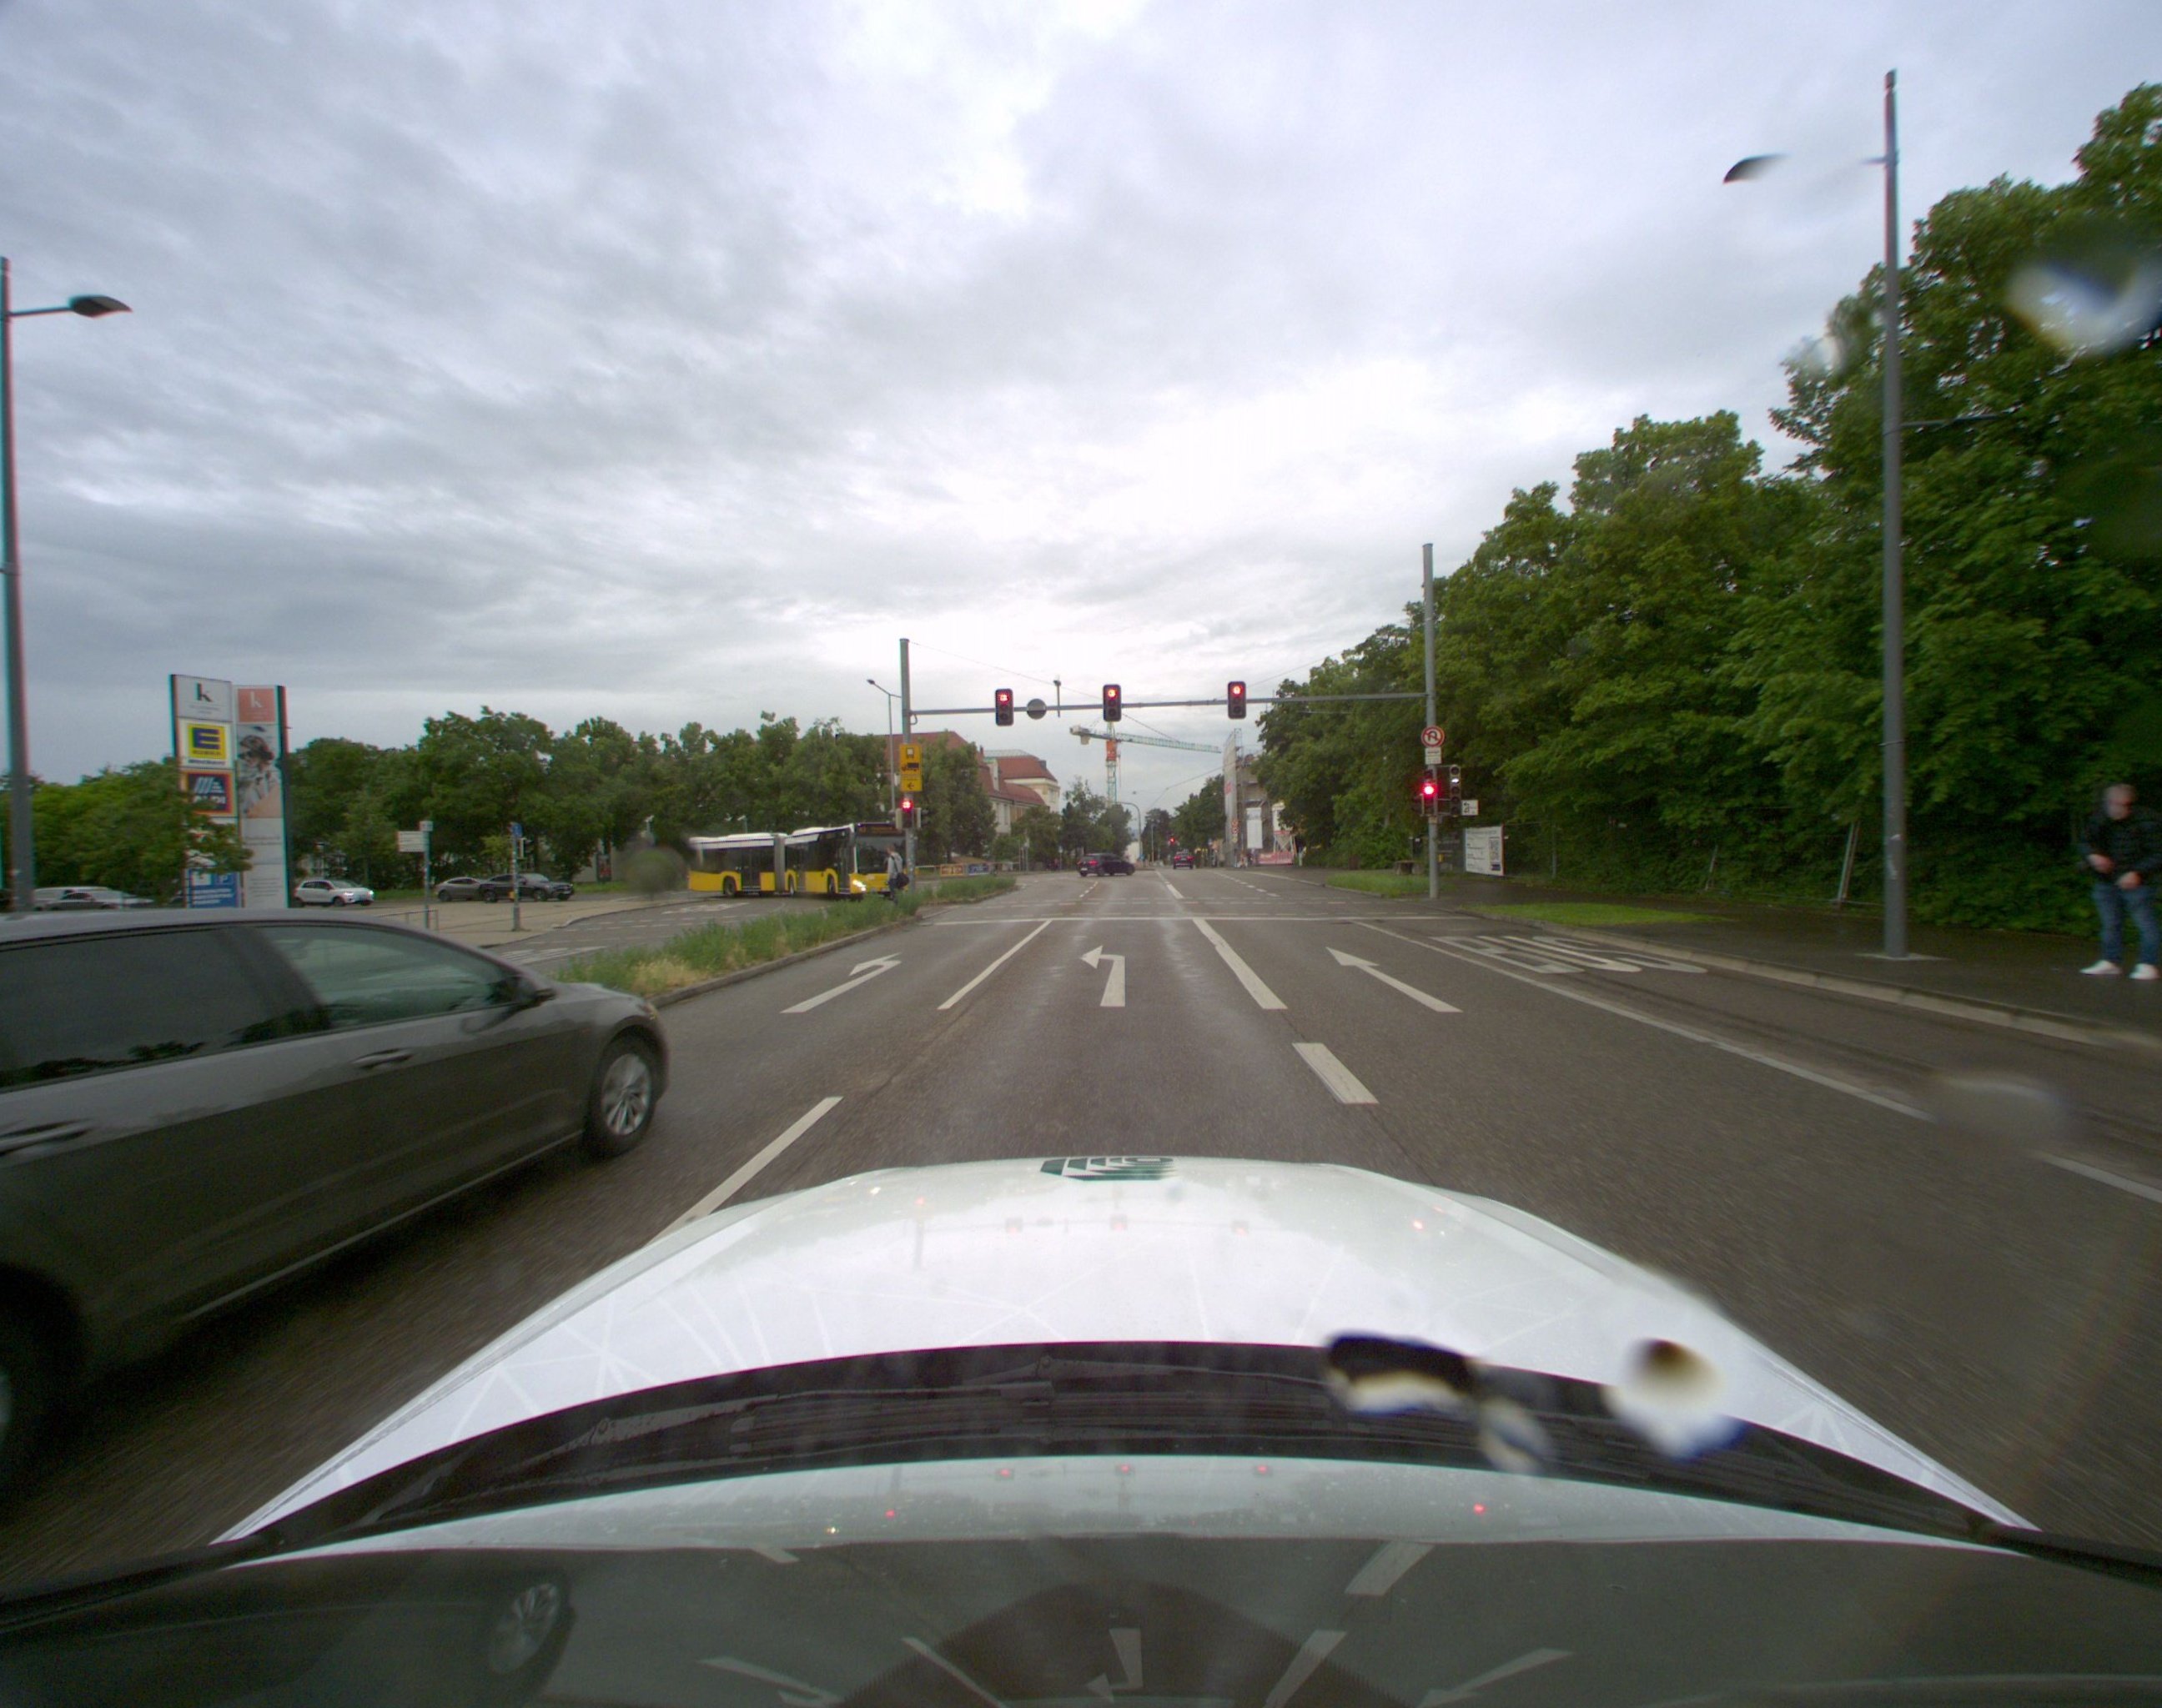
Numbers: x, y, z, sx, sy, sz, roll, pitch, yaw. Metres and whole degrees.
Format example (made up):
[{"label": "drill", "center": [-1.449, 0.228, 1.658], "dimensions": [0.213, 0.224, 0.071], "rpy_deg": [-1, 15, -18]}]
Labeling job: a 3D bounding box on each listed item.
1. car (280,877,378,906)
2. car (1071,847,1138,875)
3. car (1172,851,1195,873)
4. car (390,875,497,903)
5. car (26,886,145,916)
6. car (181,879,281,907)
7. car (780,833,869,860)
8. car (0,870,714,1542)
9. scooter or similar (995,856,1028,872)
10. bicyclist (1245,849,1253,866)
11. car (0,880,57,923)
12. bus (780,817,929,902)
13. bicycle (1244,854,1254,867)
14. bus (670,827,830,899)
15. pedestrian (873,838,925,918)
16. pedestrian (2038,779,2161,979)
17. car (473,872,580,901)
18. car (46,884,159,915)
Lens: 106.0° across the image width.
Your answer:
[{"label": "car", "center": [-41.482, 2.062, 44.980], "dimensions": [3.758, 1.425, 1.847], "rpy_deg": [-1, 0, 2]}, {"label": "car", "center": [1.523, 0.472, 51.990], "dimensions": [4.020, 1.706, 1.977], "rpy_deg": [2, -2, -40]}, {"label": "car", "center": [9.899, 0.828, 79.091], "dimensions": [1.936, 2.021, 4.555], "rpy_deg": [0, -2, 4]}, {"label": "car", "center": [-37.249, 2.037, 47.662], "dimensions": [4.844, 1.425, 1.847], "rpy_deg": [-1, 0, 2]}, {"label": "car", "center": [-57.107, 2.670, 46.759], "dimensions": [4.512, 1.530, 1.965], "rpy_deg": [-1, 0, 3]}, {"label": "car", "center": [-48.337, 2.206, 46.365], "dimensions": [3.758, 1.425, 1.847], "rpy_deg": [-1, 0, 2]}, {"label": "car", "center": [-14.575, -0.407, 46.500], "dimensions": [4.498, 1.425, 1.996], "rpy_deg": [-1, 0, -6]}, {"label": "car", "center": [-3.315, 0.872, 3.076], "dimensions": [1.799, 1.429, 4.198], "rpy_deg": [-3, 0, 1]}, {"label": "scooter or similar", "center": [-6.971, 0.996, 81.812], "dimensions": [3.076, 1.440, 0.949], "rpy_deg": [-2, 0, 2]}, {"label": "bicyclist", "center": [16.500, 0.350, 80.040], "dimensions": [0.717, 1.564, 1.144], "rpy_deg": [0, -2, 5]}, {"label": "car", "center": [-46.038, 2.044, 34.406], "dimensions": [1.782, 1.731, 3.968], "rpy_deg": [-2, 0, -24]}, {"label": "bus", "center": [-9.870, 0.239, 34.484], "dimensions": [2.910, 3.103, 9.650], "rpy_deg": [-2, 0, -35]}, {"label": "bicycle", "center": [16.501, 0.629, 80.083], "dimensions": [0.717, 1.193, 1.758], "rpy_deg": [0, -2, 6]}, {"label": "bus", "center": [-16.813, 0.512, 41.155], "dimensions": [8.465, 3.307, 2.916], "rpy_deg": [-2, 0, 31]}, {"label": "pedestrian", "center": [-4.759, 0.614, 21.358], "dimensions": [0.935, 2.013, 0.849], "rpy_deg": [-4, -1, 9]}, {"label": "pedestrian", "center": [10.325, 0.230, 8.128], "dimensions": [0.639, 1.901, 0.718], "rpy_deg": [-2, 0, -2]}, {"label": "car", "center": [-29.958, 1.756, 44.093], "dimensions": [4.428, 1.425, 2.001], "rpy_deg": [-1, 0, 2]}, {"label": "car", "center": [-50.937, 2.349, 42.423], "dimensions": [3.951, 1.425, 1.669], "rpy_deg": [-1, 0, 2]}]
